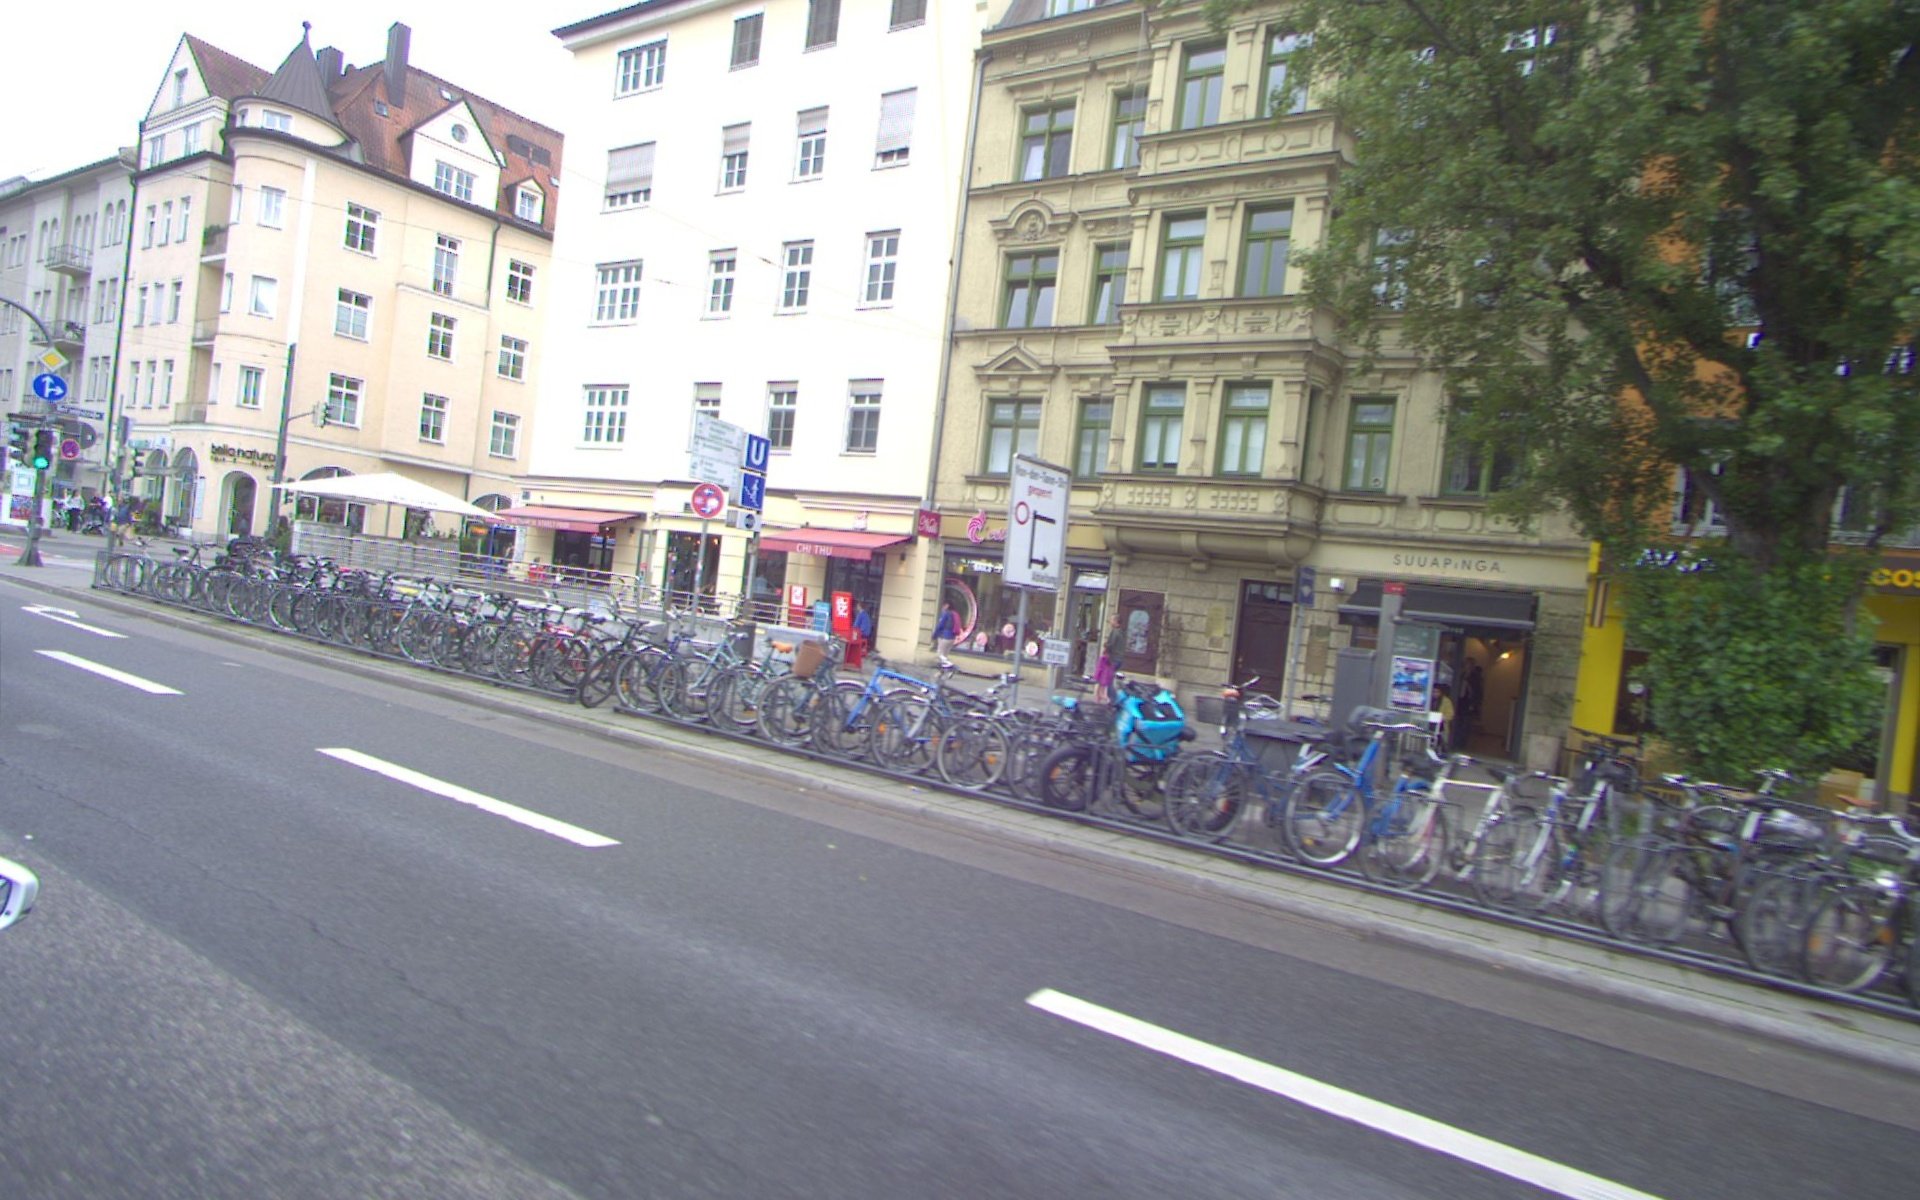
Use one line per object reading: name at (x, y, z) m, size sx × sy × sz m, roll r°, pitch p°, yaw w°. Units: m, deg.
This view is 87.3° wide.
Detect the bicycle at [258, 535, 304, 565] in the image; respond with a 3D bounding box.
bicycle at (-27.505, -2.035, 40.796) m, size 0.350 × 1.046 × 1.584 m, roll 7°, pitch 0°, yaw 18°

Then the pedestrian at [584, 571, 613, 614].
pedestrian at (-10.554, -0.227, 29.376) m, size 0.518 × 1.180 × 0.479 m, roll 7°, pitch 1°, yaw 30°

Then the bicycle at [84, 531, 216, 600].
bicycle at (-14.516, -0.609, 18.058) m, size 1.812 × 1.008 × 0.347 m, roll 6°, pitch 1°, yaw -14°

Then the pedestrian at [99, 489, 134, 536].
pedestrian at (-34.146, -3.531, 40.725) m, size 0.720 × 1.727 × 0.645 m, roll 9°, pitch 3°, yaw 3°

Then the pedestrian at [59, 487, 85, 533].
pedestrian at (-34.958, -3.539, 39.600) m, size 0.562 × 1.693 × 0.556 m, roll 7°, pitch 4°, yaw -36°

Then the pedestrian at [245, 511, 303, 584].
pedestrian at (-17.274, -1.312, 25.340) m, size 0.753 × 1.716 × 0.761 m, roll 7°, pitch 1°, yaw 7°

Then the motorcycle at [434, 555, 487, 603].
motorcycle at (-13.862, -0.586, 27.918) m, size 1.545 × 1.171 × 0.487 m, roll 7°, pitch 1°, yaw 32°

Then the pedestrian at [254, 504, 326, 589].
pedestrian at (-15.243, -1.204, 22.892) m, size 0.842 × 1.765 × 0.884 m, roll 7°, pitch 1°, yaw 16°

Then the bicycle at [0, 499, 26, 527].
bicycle at (-37.801, -3.465, 39.976) m, size 1.835 × 0.987 × 0.495 m, roll 7°, pitch 1°, yaw 32°

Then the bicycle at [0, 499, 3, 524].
bicycle at (-38.149, -3.539, 39.396) m, size 1.835 × 0.987 × 0.495 m, roll 7°, pitch 1°, yaw 32°

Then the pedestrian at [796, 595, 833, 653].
pedestrian at (-3.505, 0.582, 24.251) m, size 0.543 × 1.305 × 0.495 m, roll 7°, pitch 1°, yaw 32°

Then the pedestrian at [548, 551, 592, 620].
pedestrian at (-9.877, -0.366, 25.498) m, size 0.666 × 1.653 × 0.615 m, roll 7°, pitch 1°, yaw 32°

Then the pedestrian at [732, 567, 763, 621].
pedestrian at (-5.871, -0.152, 27.791) m, size 0.481 × 1.414 × 0.509 m, roll 7°, pitch 1°, yaw 37°

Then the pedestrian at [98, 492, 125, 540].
pedestrian at (-33.591, -3.326, 39.833) m, size 0.645 × 1.774 × 0.630 m, roll 7°, pitch 4°, yaw -36°

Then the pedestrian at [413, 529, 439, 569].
pedestrian at (-25.135, -2.414, 47.328) m, size 0.736 × 1.727 × 0.679 m, roll 12°, pitch 4°, yaw 41°

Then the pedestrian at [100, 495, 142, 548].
pedestrian at (-30.848, -2.876, 36.986) m, size 1.051 × 1.777 × 0.931 m, roll 7°, pitch 1°, yaw 43°

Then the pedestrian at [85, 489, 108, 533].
pedestrian at (-34.626, -3.564, 40.344) m, size 0.559 × 1.631 × 0.560 m, roll 6°, pitch 4°, yaw -45°

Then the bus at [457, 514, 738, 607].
bus at (-17.888, -1.826, 51.222) m, size 2.776 × 3.004 × 13.535 m, roll 9°, pitch 1°, yaw 42°

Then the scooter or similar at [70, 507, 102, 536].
scooter or similar at (-34.213, -3.078, 39.392) m, size 0.815 × 1.007 × 0.587 m, roll 7°, pitch 3°, yaw -36°

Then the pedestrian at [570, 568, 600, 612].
pedestrian at (-10.768, -0.277, 28.887) m, size 0.518 × 1.180 × 0.479 m, roll 7°, pitch 1°, yaw 30°

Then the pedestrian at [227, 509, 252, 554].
pedestrian at (-29.968, -2.849, 41.854) m, size 0.677 × 1.707 × 0.738 m, roll 7°, pitch 4°, yaw -39°

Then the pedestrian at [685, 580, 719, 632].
pedestrian at (-6.973, 0.165, 27.235) m, size 0.543 × 1.305 × 0.541 m, roll 7°, pitch 1°, yaw 32°

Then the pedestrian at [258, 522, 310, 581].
pedestrian at (-19.518, -1.384, 29.062) m, size 0.874 × 1.560 × 0.732 m, roll 7°, pitch 1°, yaw 17°

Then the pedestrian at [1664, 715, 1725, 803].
pedestrian at (11.417, 2.460, 15.655) m, size 0.573 × 1.233 × 0.623 m, roll 7°, pitch 1°, yaw 31°

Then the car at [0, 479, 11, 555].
car at (-10.691, -0.563, 9.403) m, size 3.497 × 1.608 × 1.706 m, roll 7°, pitch -2°, yaw 32°

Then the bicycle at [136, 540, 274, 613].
bicycle at (-12.709, -0.390, 16.968) m, size 1.812 × 1.008 × 0.347 m, roll 6°, pitch 1°, yaw -14°

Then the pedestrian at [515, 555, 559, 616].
pedestrian at (-10.675, -0.356, 25.397) m, size 0.606 × 1.440 × 0.676 m, roll 7°, pitch 1°, yaw 32°

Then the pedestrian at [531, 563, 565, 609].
pedestrian at (-12.473, -0.415, 30.449) m, size 0.691 × 1.308 × 0.515 m, roll 7°, pitch 1°, yaw 30°

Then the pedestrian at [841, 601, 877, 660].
pedestrian at (-2.434, 0.740, 24.314) m, size 0.543 × 1.349 × 0.495 m, roll 7°, pitch 1°, yaw 32°

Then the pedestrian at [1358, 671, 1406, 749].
pedestrian at (7.555, 1.960, 18.005) m, size 0.573 × 1.296 × 0.584 m, roll 7°, pitch 1°, yaw 31°

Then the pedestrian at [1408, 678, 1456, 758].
pedestrian at (8.241, 2.042, 17.553) m, size 0.573 × 1.296 × 0.584 m, roll 7°, pitch 1°, yaw 31°

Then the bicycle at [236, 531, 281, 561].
bicycle at (-28.469, -2.174, 40.831) m, size 0.244 × 1.046 × 1.584 m, roll 7°, pitch 0°, yaw 18°

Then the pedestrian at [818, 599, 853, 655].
pedestrian at (-3.093, 0.671, 24.991) m, size 0.543 × 1.305 × 0.495 m, roll 7°, pitch 1°, yaw 32°

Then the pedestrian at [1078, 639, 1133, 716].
pedestrian at (2.560, 1.356, 17.680) m, size 0.655 × 1.237 × 0.601 m, roll 7°, pitch 1°, yaw 32°

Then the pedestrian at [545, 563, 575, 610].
pedestrian at (-11.688, -0.390, 29.416) m, size 0.518 × 1.315 × 0.479 m, roll 7°, pitch 1°, yaw 30°

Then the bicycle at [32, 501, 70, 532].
bicycle at (-37.115, -3.396, 41.080) m, size 1.834 × 1.072 × 0.495 m, roll 7°, pitch 1°, yaw 28°

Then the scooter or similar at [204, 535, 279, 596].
scooter or similar at (-15.056, -0.719, 21.074) m, size 1.235 × 1.088 × 0.776 m, roll 7°, pitch 1°, yaw 30°

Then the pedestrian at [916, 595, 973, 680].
pedestrian at (-0.320, 0.789, 21.074) m, size 0.773 × 1.653 × 0.711 m, roll 7°, pitch 1°, yaw 32°

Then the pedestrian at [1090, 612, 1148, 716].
pedestrian at (2.866, 1.149, 18.134) m, size 0.655 × 1.761 × 0.601 m, roll 7°, pitch 1°, yaw 32°
